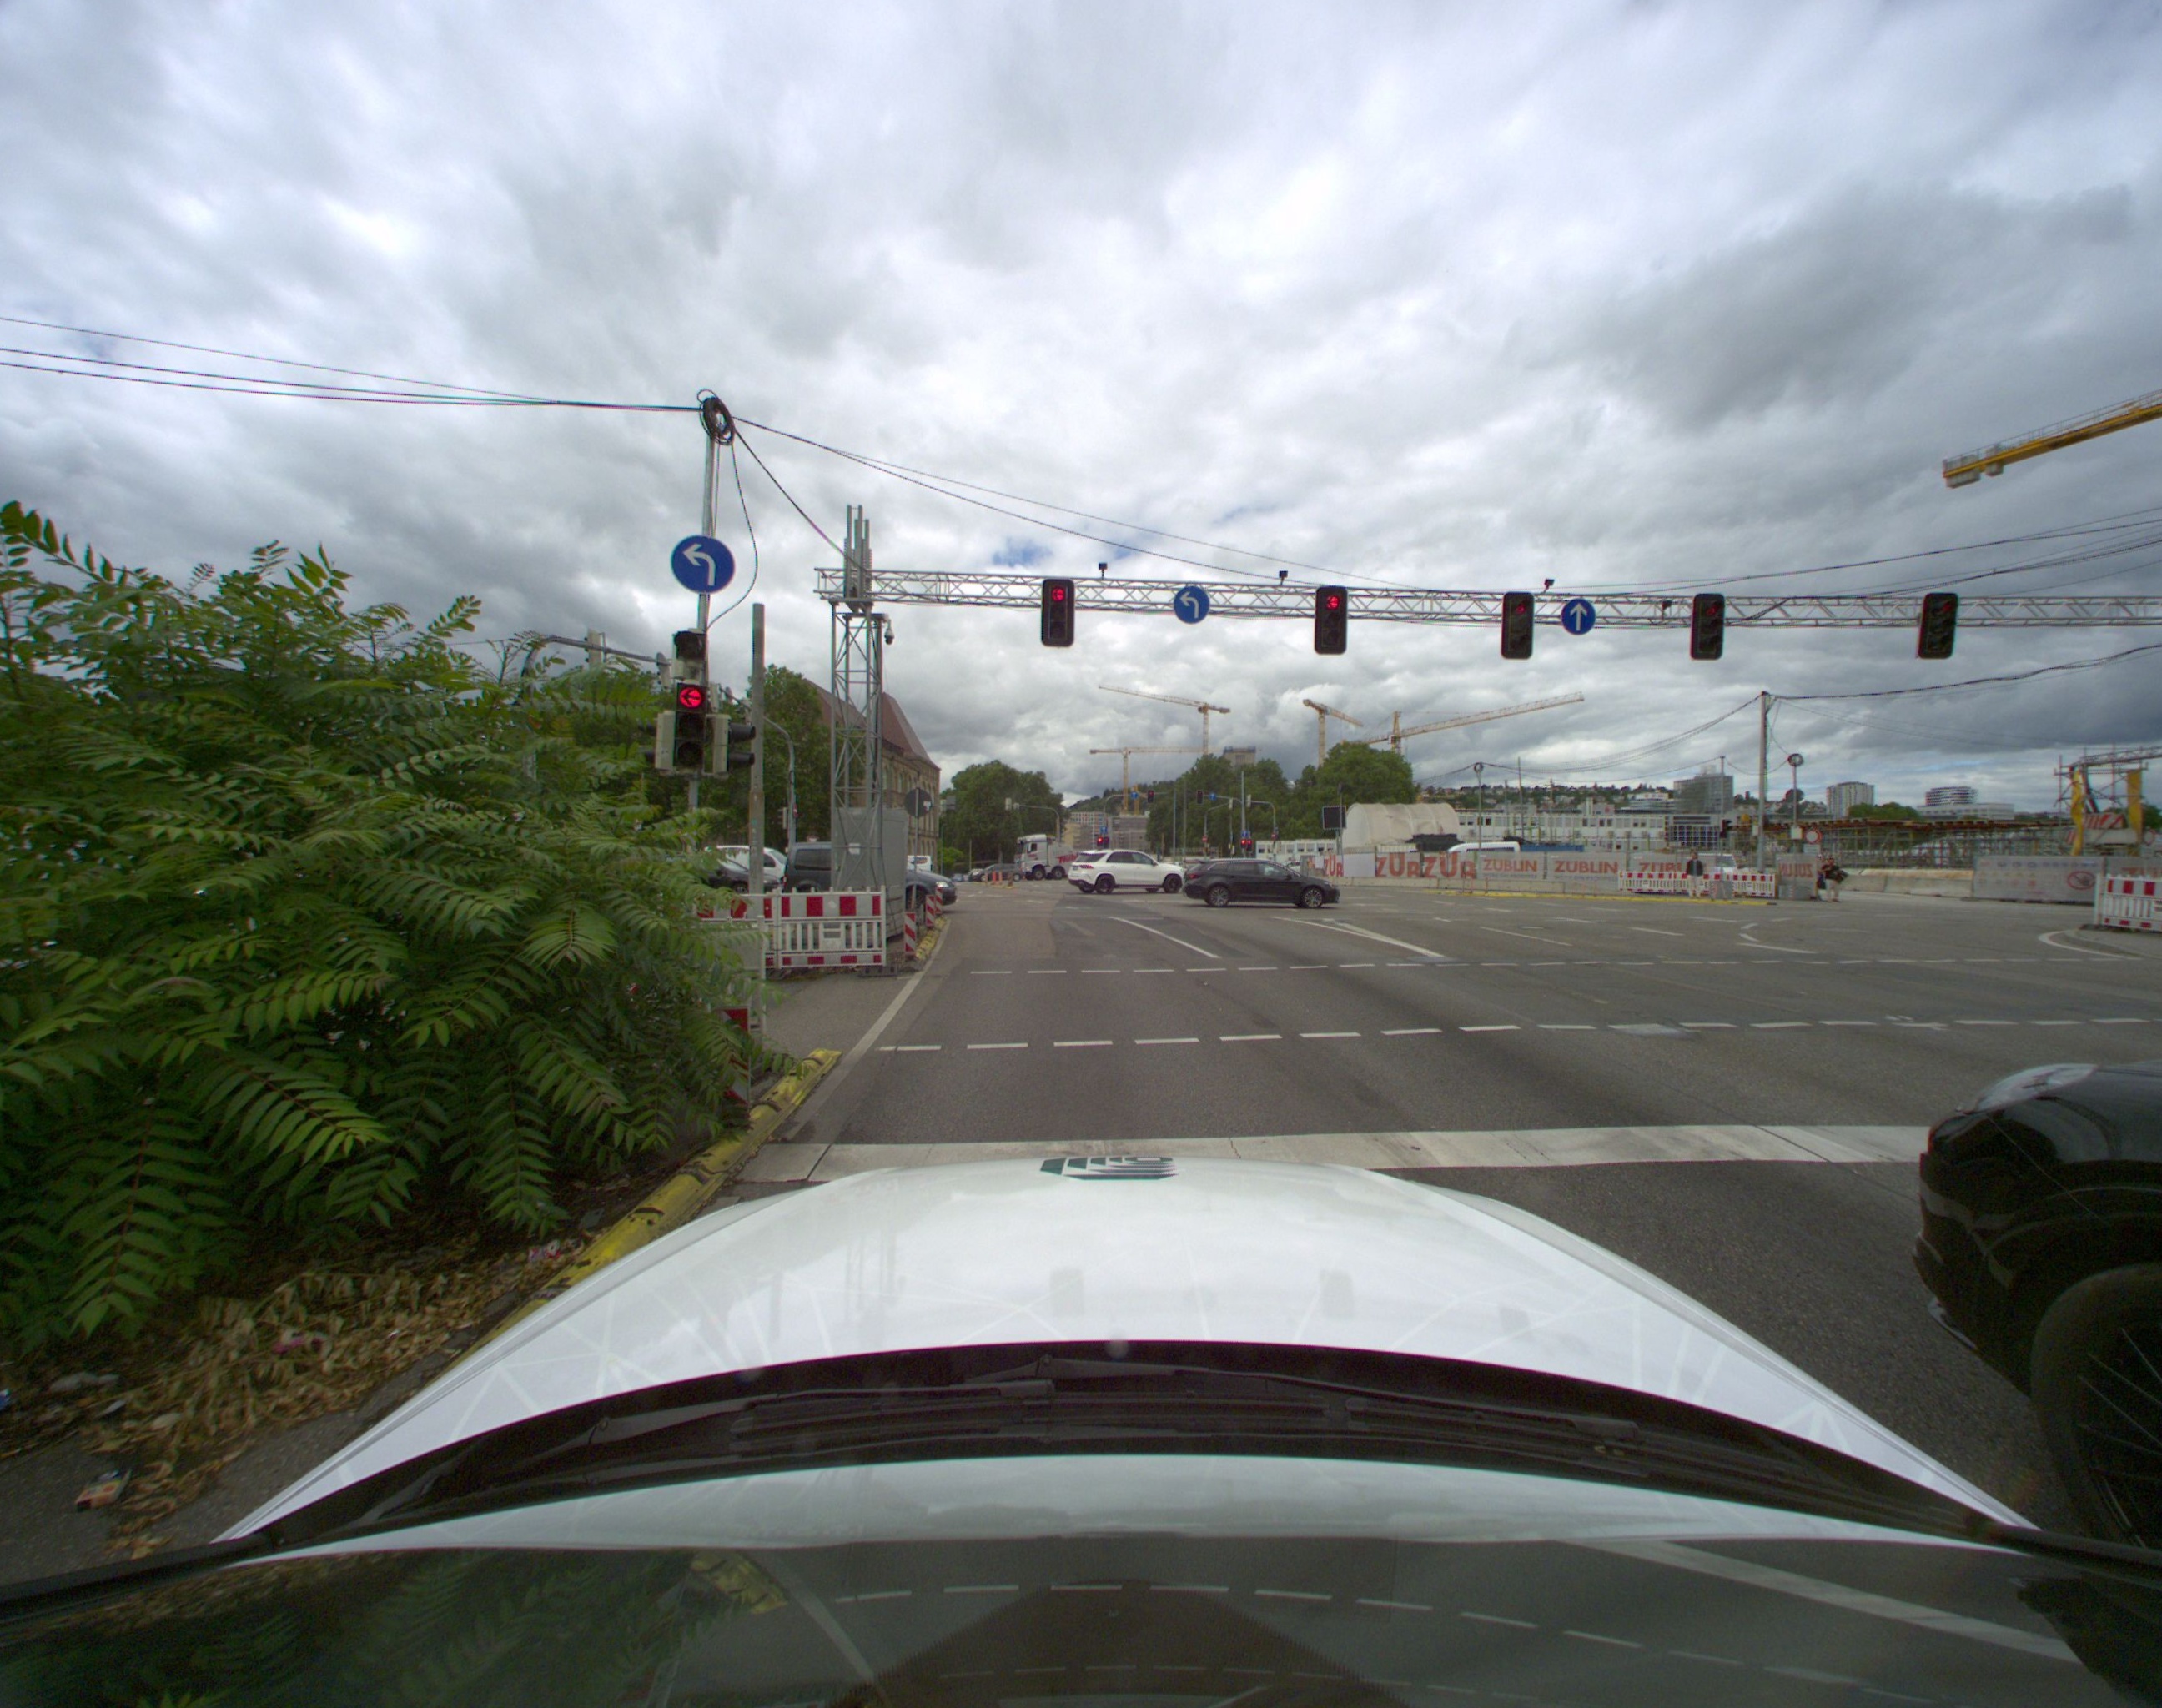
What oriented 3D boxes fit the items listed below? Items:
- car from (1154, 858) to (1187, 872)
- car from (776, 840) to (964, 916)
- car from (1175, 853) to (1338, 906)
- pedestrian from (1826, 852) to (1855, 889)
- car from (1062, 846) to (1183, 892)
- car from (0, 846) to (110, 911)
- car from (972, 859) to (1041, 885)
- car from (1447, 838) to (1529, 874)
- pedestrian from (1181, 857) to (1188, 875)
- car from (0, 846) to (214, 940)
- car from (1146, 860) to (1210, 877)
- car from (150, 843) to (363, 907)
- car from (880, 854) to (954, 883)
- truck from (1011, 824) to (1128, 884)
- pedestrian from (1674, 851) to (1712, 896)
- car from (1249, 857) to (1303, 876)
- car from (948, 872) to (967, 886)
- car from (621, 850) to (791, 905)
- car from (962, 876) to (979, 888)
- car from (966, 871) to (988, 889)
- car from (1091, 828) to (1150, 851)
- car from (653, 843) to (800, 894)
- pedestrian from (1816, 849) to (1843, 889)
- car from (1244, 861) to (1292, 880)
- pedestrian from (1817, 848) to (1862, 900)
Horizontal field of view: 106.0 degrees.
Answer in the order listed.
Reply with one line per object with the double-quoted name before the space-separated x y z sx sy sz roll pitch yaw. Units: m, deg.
"car" 10.494 1.317 95.820 1.871 1.651 3.963 0 -1 -28
"car" -5.291 0.601 20.884 4.254 1.805 2.000 0 -1 1
"car" 5.153 0.737 24.355 4.475 1.466 2.000 0 -1 0
"pedestrian" 39.175 0.838 42.013 0.677 1.916 0.865 0 -1 -4
"car" 1.680 0.575 32.981 4.505 1.759 1.987 0 -1 -20
"car" -26.958 0.596 20.098 3.841 1.542 1.713 0 -1 -1
"car" -5.956 1.433 65.340 5.149 2.014 2.063 0 -1 -21
"car" 23.467 0.120 47.097 3.955 2.014 2.009 -1 -1 17
"pedestrian" 10.469 1.197 82.465 0.583 1.840 0.604 0 -1 -2
"car" -19.164 0.693 15.397 4.325 1.626 1.893 -1 -1 14
"car" 8.471 1.264 71.429 5.153 1.419 2.221 0 -1 -22
"car" -23.702 0.598 23.543 4.063 1.740 1.909 1 -1 -1
"car" -12.056 1.064 59.865 5.149 2.014 2.063 0 -1 -21
"truck" -0.972 -0.035 70.702 9.750 4.961 3.092 0 -1 -21
"pedestrian" 25.609 0.812 34.110 1.035 1.848 0.794 -1 -1 17
"car" 18.012 1.117 75.315 4.601 1.724 1.895 0 -1 -21
"car" -16.916 3.412 111.465 1.987 1.838 3.998 0 -1 -1
"car" -11.053 0.667 24.258 4.096 1.547 1.998 0 -1 -2
"car" -16.984 4.314 125.351 1.987 1.838 3.998 0 -1 -1
"car" -11.547 2.873 90.790 1.987 1.838 3.998 0 -1 -1
"car" 3.008 -1.124 62.315 4.176 1.701 1.955 0 -1 -18
"car" -13.311 0.525 30.754 4.693 1.833 1.869 0 -1 -1
"pedestrian" 38.288 0.744 41.655 0.673 2.014 0.869 -1 -1 14
"car" 18.112 1.582 78.949 4.164 1.724 1.895 0 -1 -22
"pedestrian" 29.669 0.763 31.872 1.038 2.014 1.036 0 -1 -33
